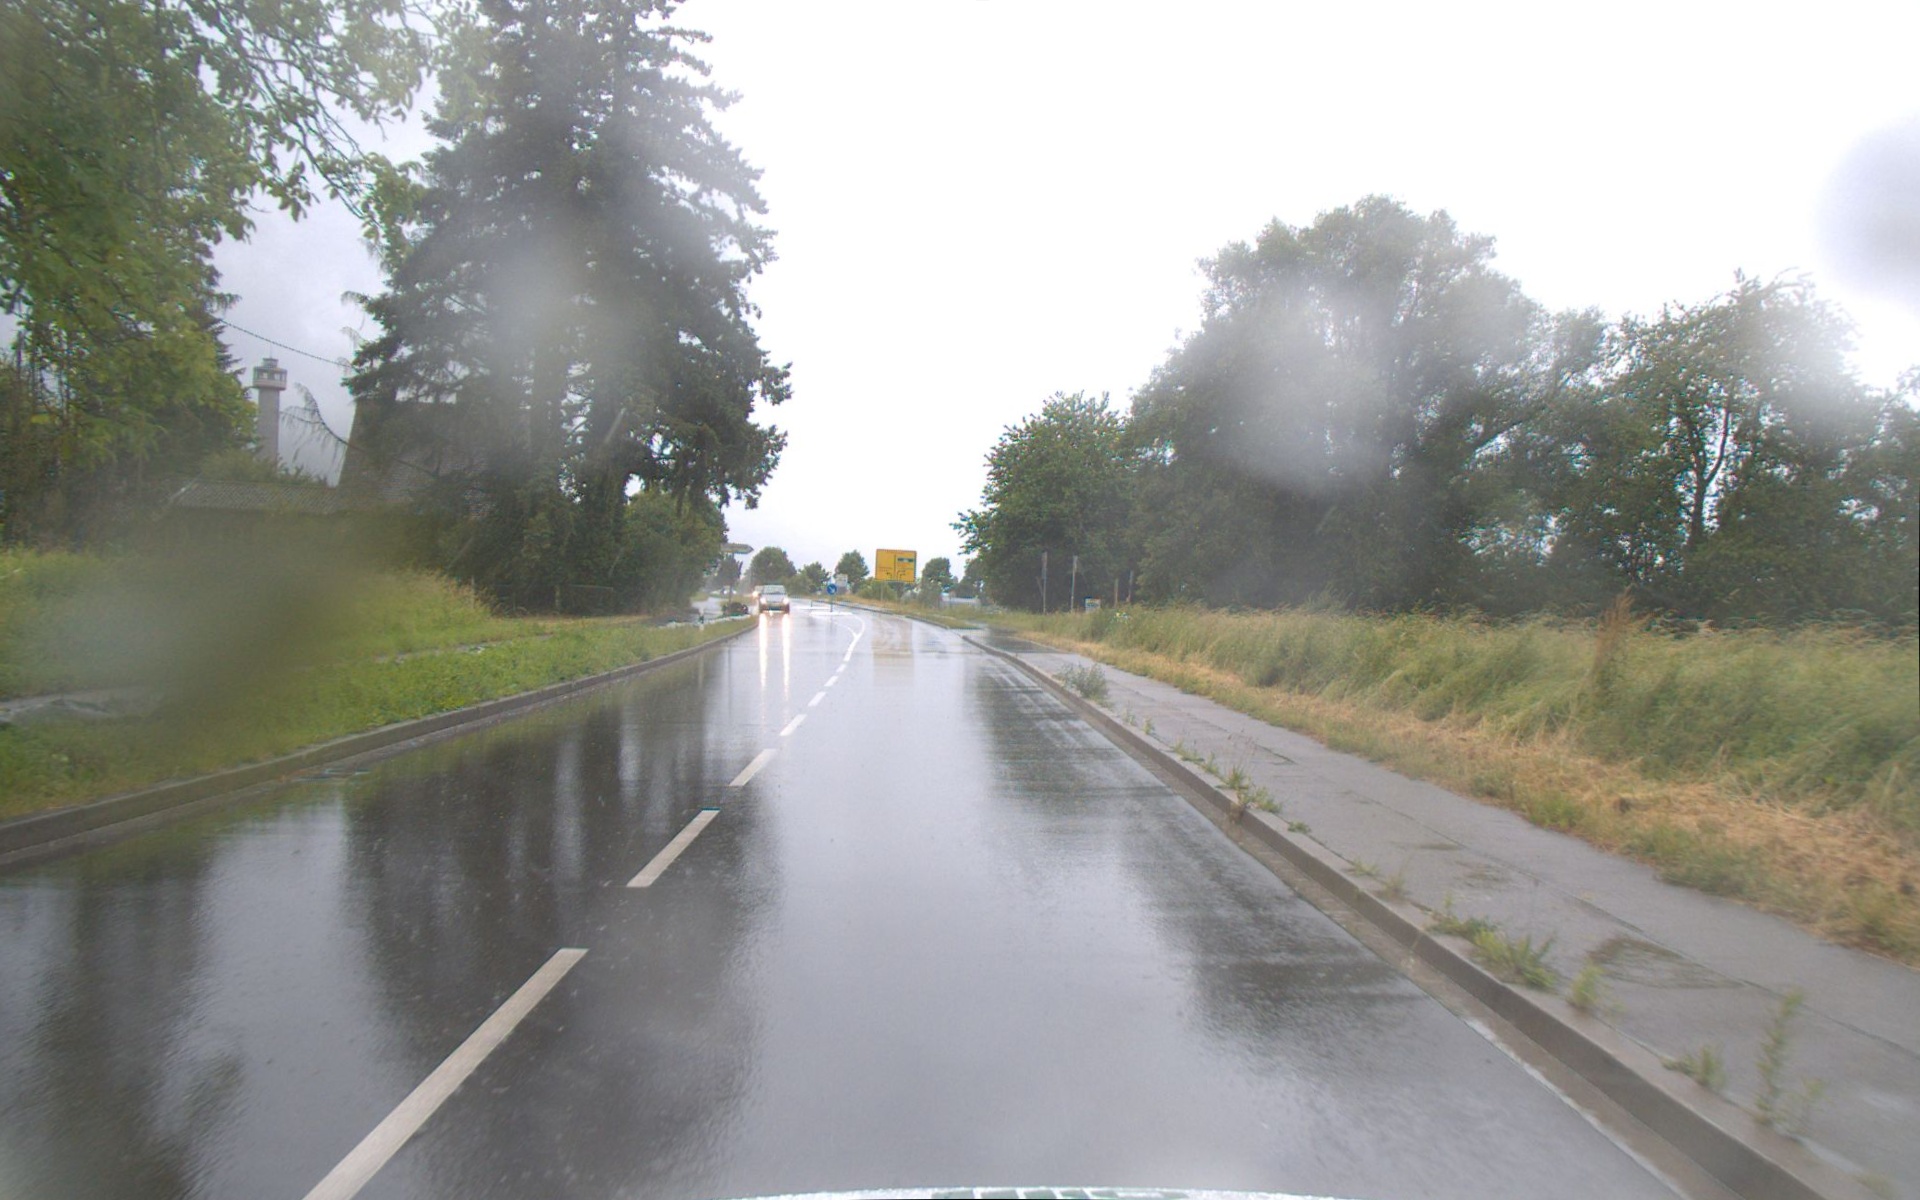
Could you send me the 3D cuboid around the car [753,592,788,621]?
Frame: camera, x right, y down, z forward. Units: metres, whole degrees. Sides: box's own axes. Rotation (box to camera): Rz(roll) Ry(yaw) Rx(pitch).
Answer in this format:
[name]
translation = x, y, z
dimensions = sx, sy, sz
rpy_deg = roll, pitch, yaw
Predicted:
[car]
translation = -11.086, 0.368, 96.657
dimensions = 1.729, 1.579, 3.990
rpy_deg = 3, -1, -10
